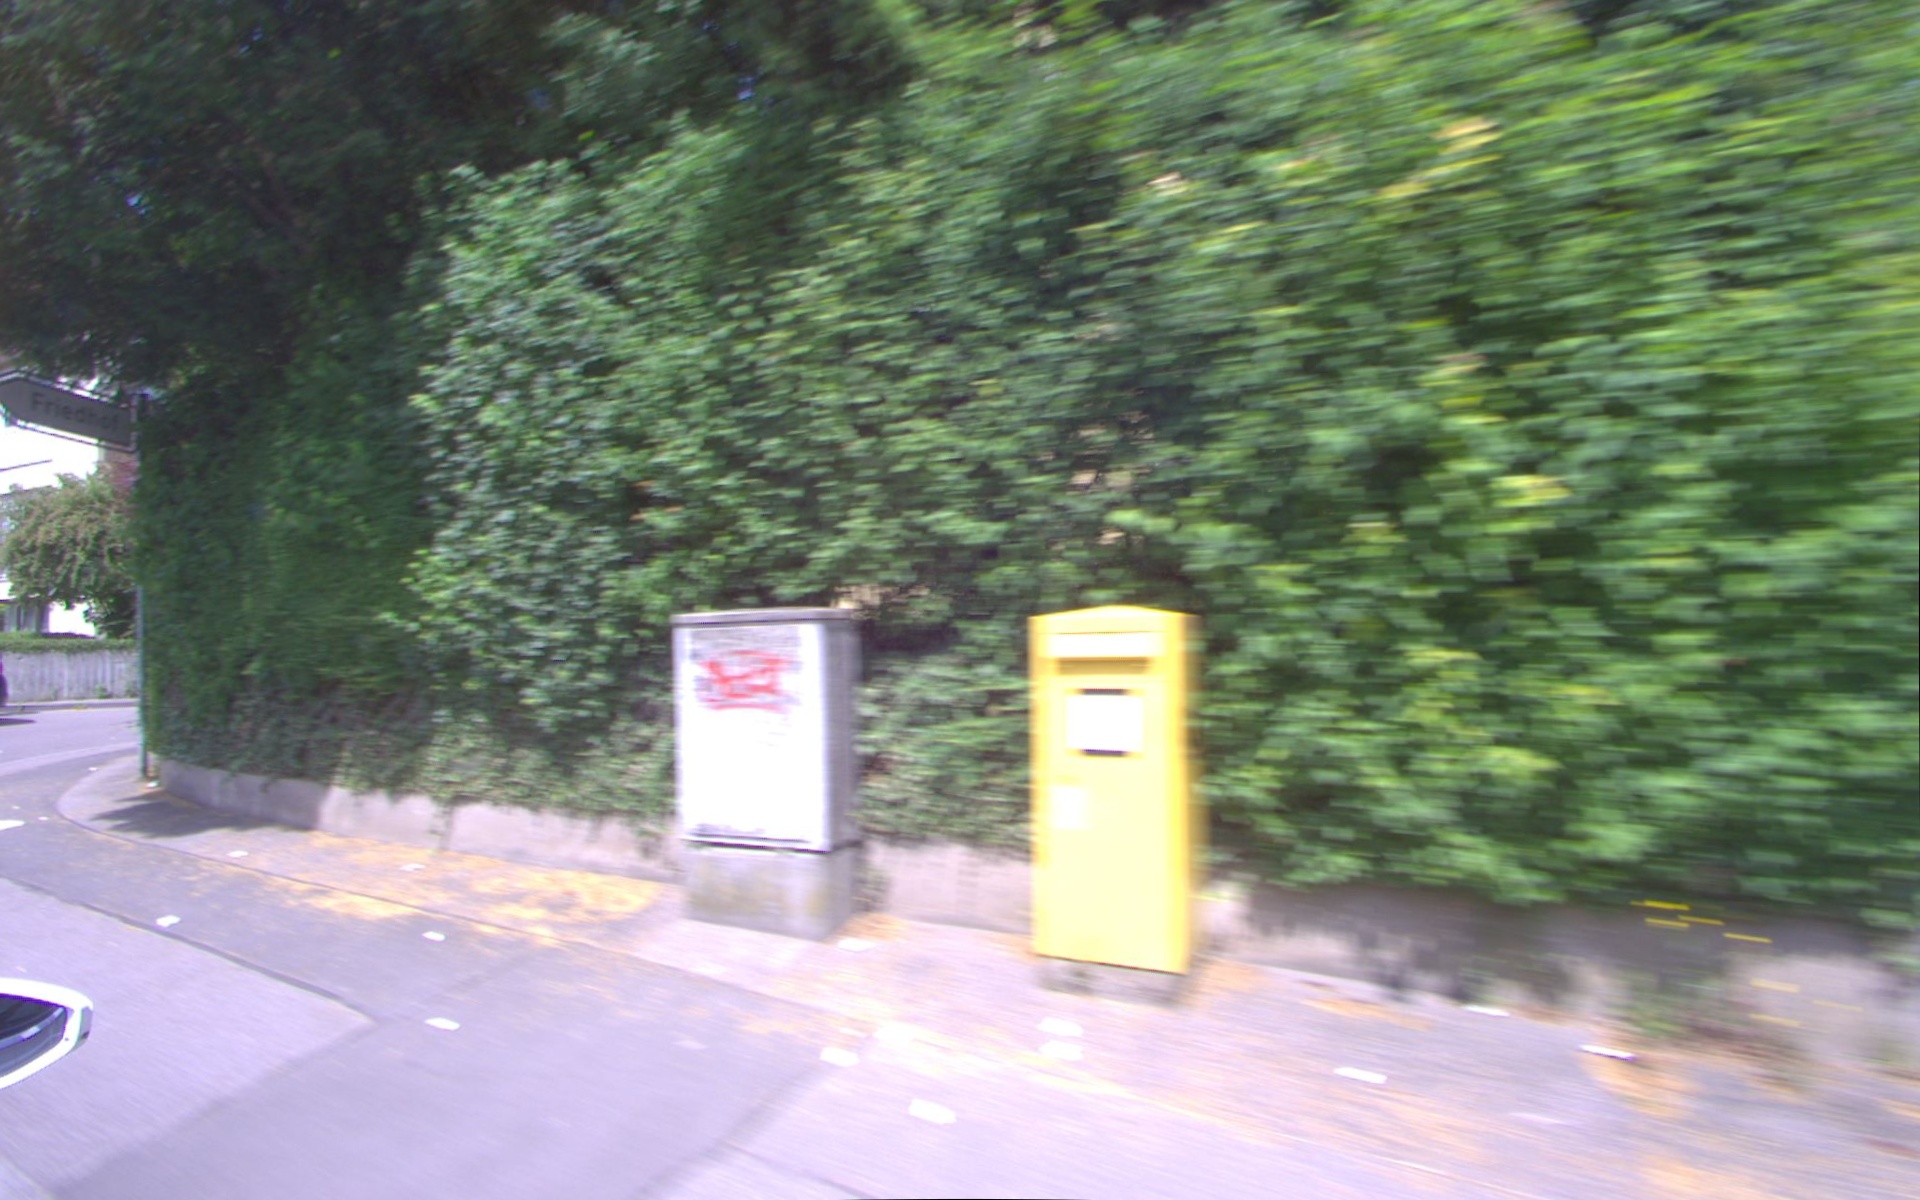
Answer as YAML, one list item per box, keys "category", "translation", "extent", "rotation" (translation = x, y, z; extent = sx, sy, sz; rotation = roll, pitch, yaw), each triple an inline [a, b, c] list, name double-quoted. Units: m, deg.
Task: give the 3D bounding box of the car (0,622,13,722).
- category: "car"
  translation: [-15.780, 1.031, 13.609]
  extent: [1.633, 1.476, 3.930]
  rotation: [-1, -2, 29]

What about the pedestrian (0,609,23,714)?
- category: "pedestrian"
  translation: [-15.753, 0.989, 16.281]
  extent: [0.691, 1.693, 0.564]
  rotation: [2, -1, -41]
